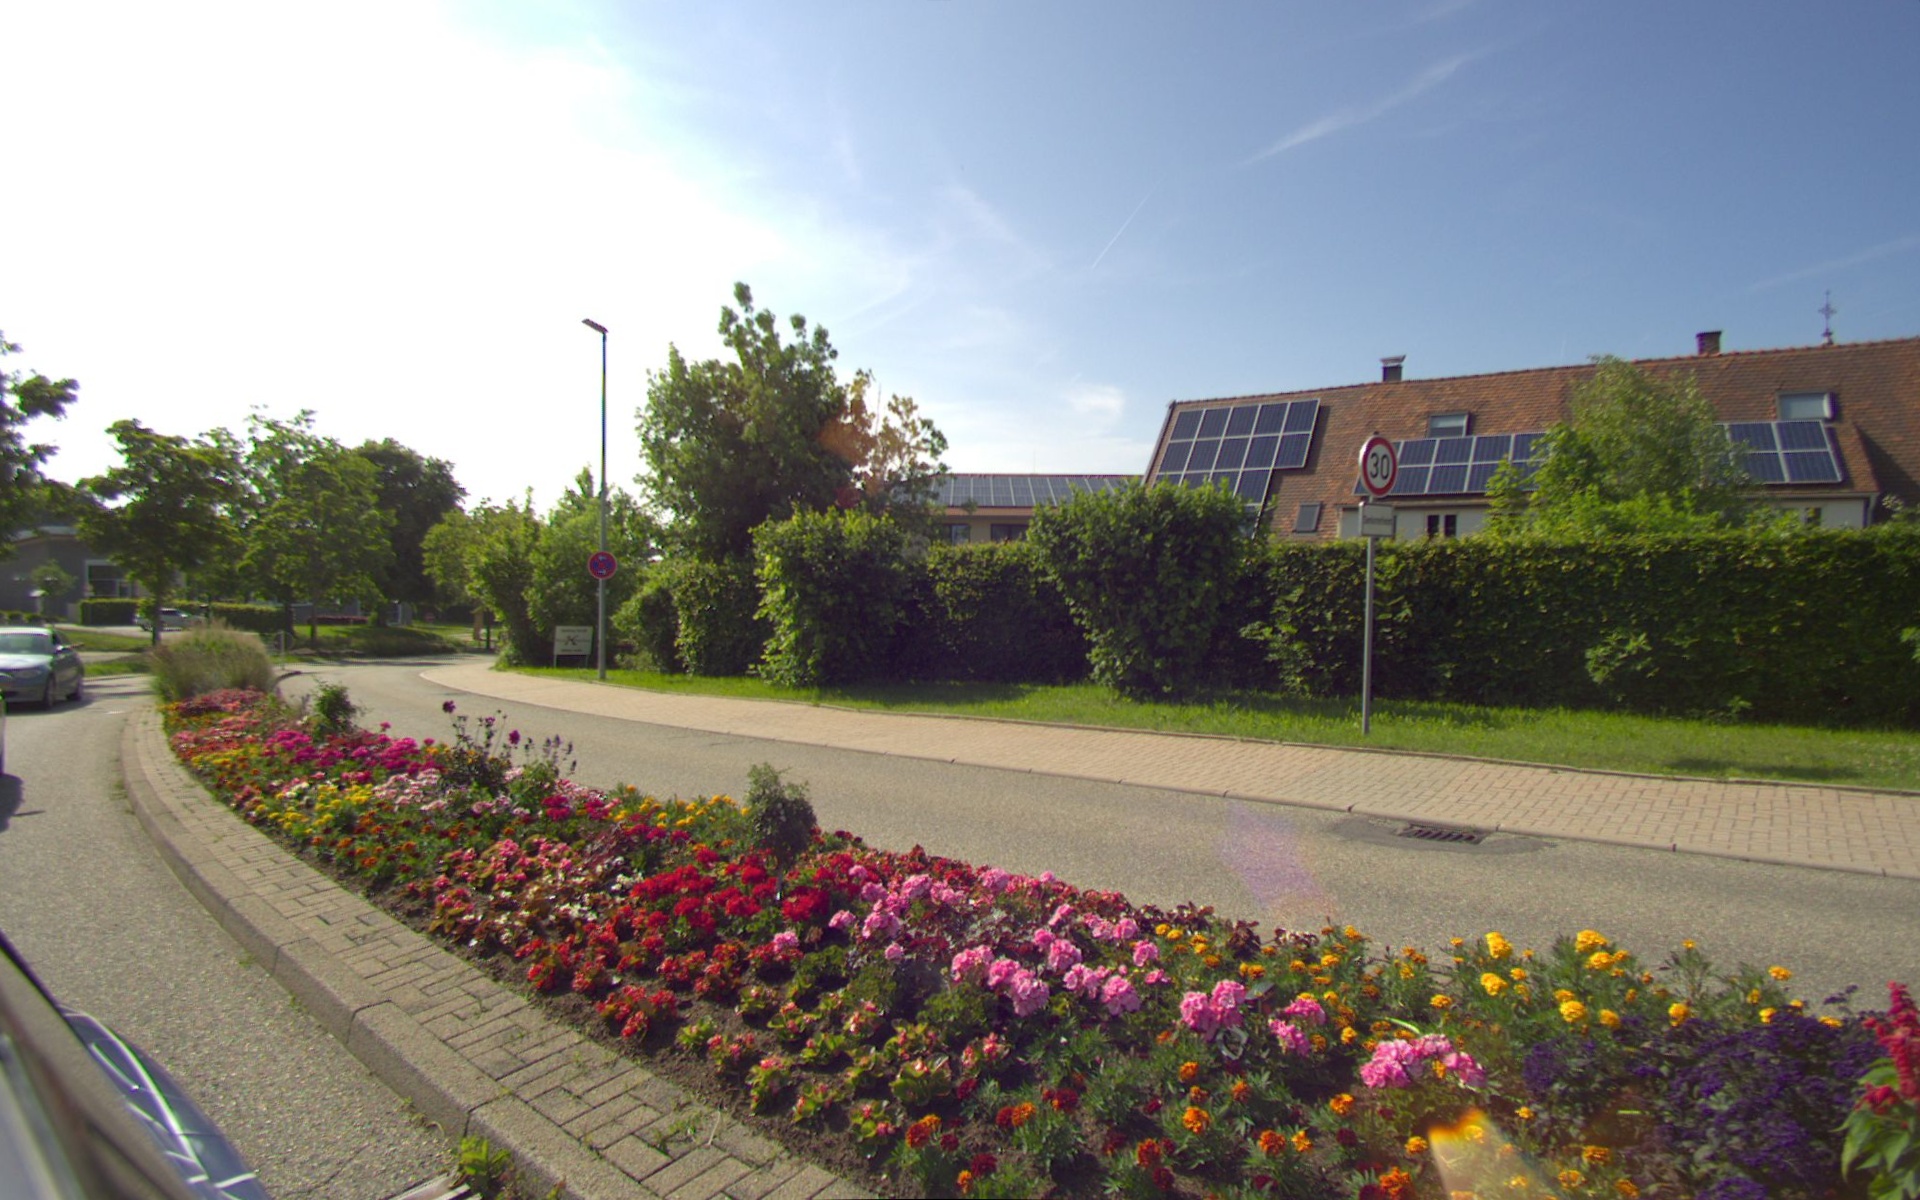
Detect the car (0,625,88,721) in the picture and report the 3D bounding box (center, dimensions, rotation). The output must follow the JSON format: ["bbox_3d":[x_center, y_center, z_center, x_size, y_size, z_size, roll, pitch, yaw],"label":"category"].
[{"bbox_3d":[-17.075,1.221,17.953,1.872,1.519,4.010,4,-3,-34],"label":"car"}]

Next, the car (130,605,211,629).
[{"bbox_3d":[-58.276,1.292,74.754,1.782,1.526,4.335,1,-3,23],"label":"car"}]

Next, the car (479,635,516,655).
[{"bbox_3d":[-32.789,3.192,71.776,1.457,1.375,2.805,1,-2,-5],"label":"car"}]

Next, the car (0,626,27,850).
[{"bbox_3d":[-8.351,0.907,7.645,1.812,1.378,4.587,2,-2,-42],"label":"car"}]
